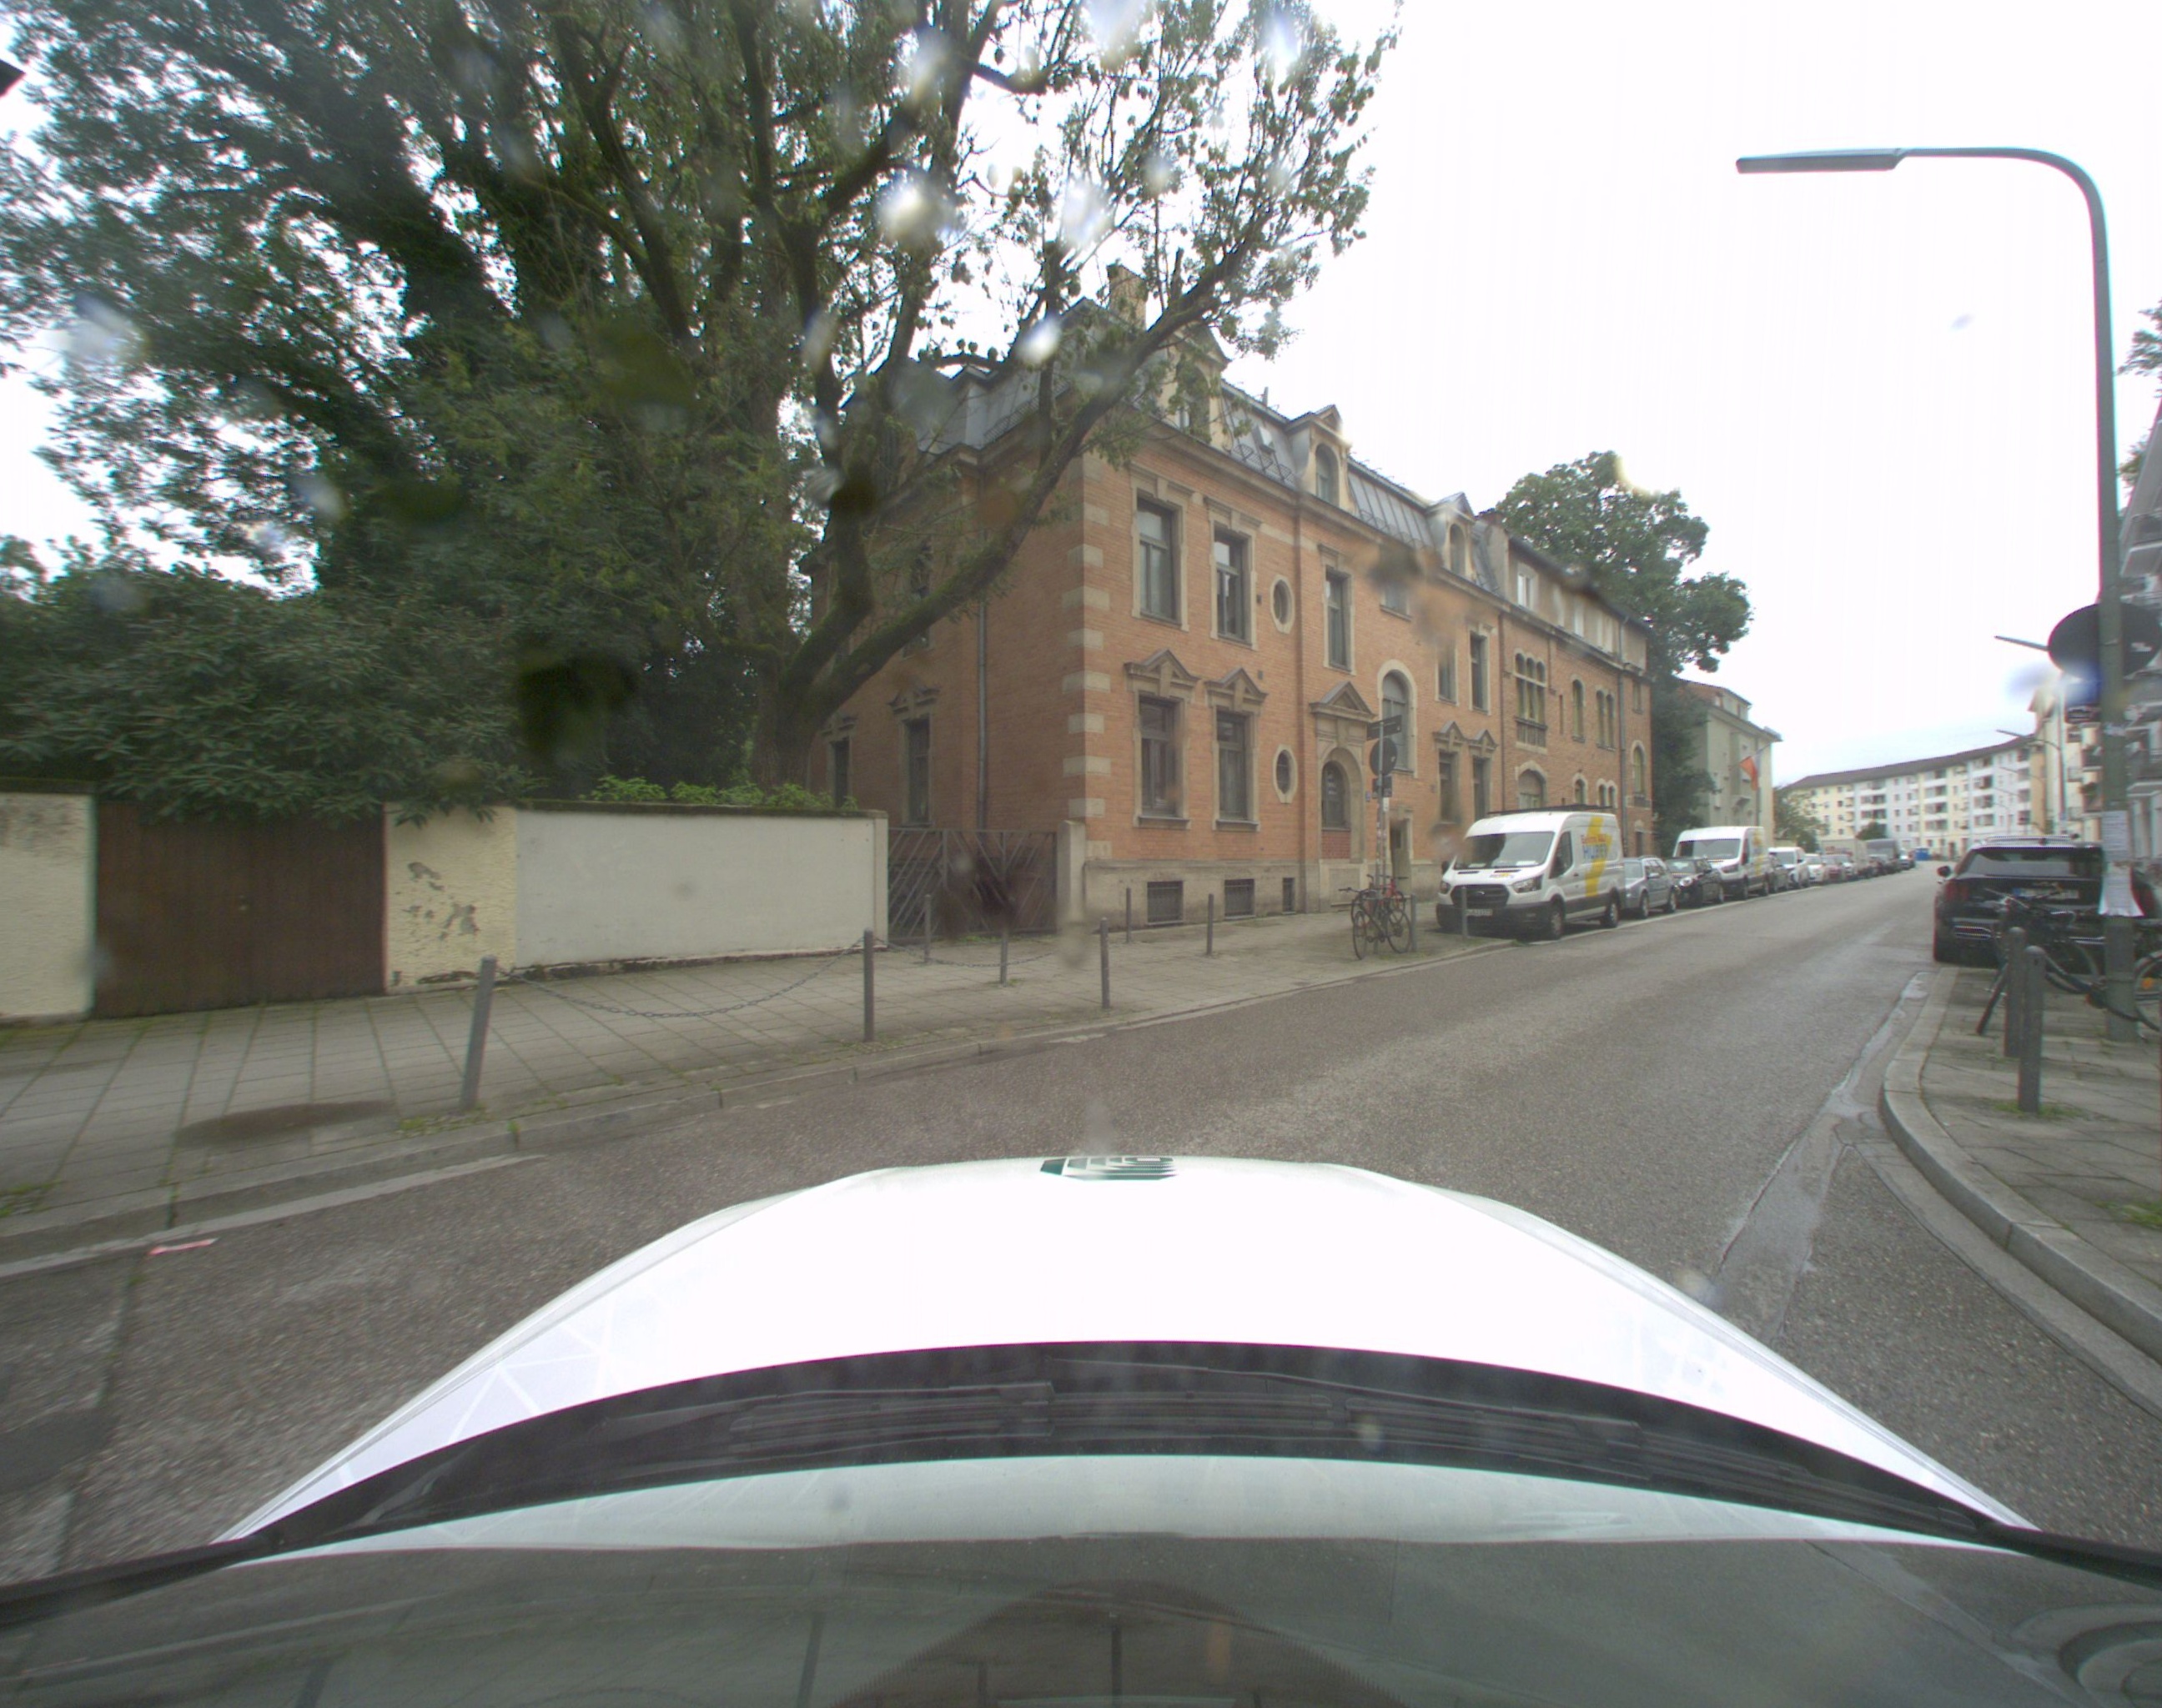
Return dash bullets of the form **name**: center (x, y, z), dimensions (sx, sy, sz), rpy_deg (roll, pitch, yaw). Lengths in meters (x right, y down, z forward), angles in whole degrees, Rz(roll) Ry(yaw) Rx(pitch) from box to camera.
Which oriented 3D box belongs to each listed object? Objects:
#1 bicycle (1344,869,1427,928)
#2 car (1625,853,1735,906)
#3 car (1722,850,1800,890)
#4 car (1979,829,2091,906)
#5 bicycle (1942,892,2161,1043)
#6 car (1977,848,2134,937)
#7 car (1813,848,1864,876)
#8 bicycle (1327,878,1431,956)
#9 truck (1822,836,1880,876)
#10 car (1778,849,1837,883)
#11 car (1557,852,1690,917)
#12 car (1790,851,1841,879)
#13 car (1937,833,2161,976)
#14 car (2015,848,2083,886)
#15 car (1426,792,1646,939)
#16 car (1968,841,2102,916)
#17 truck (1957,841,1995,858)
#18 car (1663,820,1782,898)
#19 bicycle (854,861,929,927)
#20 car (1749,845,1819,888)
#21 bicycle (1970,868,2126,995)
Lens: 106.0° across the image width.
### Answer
- **bicycle**: center (5.871, 0.828, 15.644), dimensions (1.903, 1.054, 0.575), rpy_deg (0, 0, -37)
- **car**: center (17.440, 0.709, 23.661), dimensions (3.850, 1.431, 1.683), rpy_deg (0, -2, -40)
- **car**: center (26.096, 0.596, 31.222), dimensions (4.021, 1.445, 1.729), rpy_deg (0, -1, -42)
- **car**: center (26.708, 0.370, 22.932), dimensions (4.843, 1.968, 1.853), rpy_deg (0, -1, -42)
- **bicycle**: center (7.989, 0.839, 6.235), dimensions (1.740, 1.066, 0.780), rpy_deg (-1, -1, 27)
- **car**: center (18.498, 0.629, 15.636), dimensions (4.440, 1.459, 1.712), rpy_deg (0, 1, -43)
- **car**: center (42.457, 0.443, 45.592), dimensions (3.888, 1.469, 1.779), rpy_deg (0, -1, -43)
- **bicycle**: center (4.456, 0.906, 12.133), dimensions (1.771, 1.054, 0.575), rpy_deg (0, -1, -37)
- **truck**: center (47.389, 0.124, 50.066), dimensions (5.437, 2.319, 1.976), rpy_deg (0, -1, -41)
- **car**: center (34.467, 0.564, 38.594), dimensions (1.829, 1.540, 4.023), rpy_deg (-2, -1, 45)
- **car**: center (13.543, 0.715, 20.249), dimensions (4.018, 1.455, 1.674), rpy_deg (0, -3, -41)
- **car**: center (37.805, 0.541, 41.876), dimensions (1.735, 1.368, 4.023), rpy_deg (-2, -1, 45)
- **car**: center (13.504, 0.599, 11.473), dimensions (4.574, 1.639, 1.833), rpy_deg (0, -1, -42)
- **car**: center (38.478, 0.515, 32.409), dimensions (4.020, 1.434, 1.635), rpy_deg (0, -1, -40)
- **car**: center (9.186, 0.239, 16.197), dimensions (5.500, 2.468, 1.975), rpy_deg (0, -3, -41)
- **car**: center (22.287, 0.527, 19.172), dimensions (4.779, 1.551, 1.843), rpy_deg (0, -1, -42)
- **truck**: center (121.646, -0.596, 110.758), dimensions (2.204, 2.300, 5.324), rpy_deg (-2, -1, 35)
- **car**: center (21.528, 0.177, 27.249), dimensions (5.398, 2.349, 2.118), rpy_deg (0, -1, -41)
- **bicycle**: center (-3.770, 0.765, 16.099), dimensions (0.539, 1.219, 2.058), rpy_deg (1, -1, -41)
- **car**: center (29.576, 0.510, 34.215), dimensions (4.022, 1.711, 1.804), rpy_deg (0, -1, -43)
- **bicycle**: center (10.007, 0.737, 8.508), dimensions (0.574, 1.154, 1.975), rpy_deg (-1, -1, 36)
